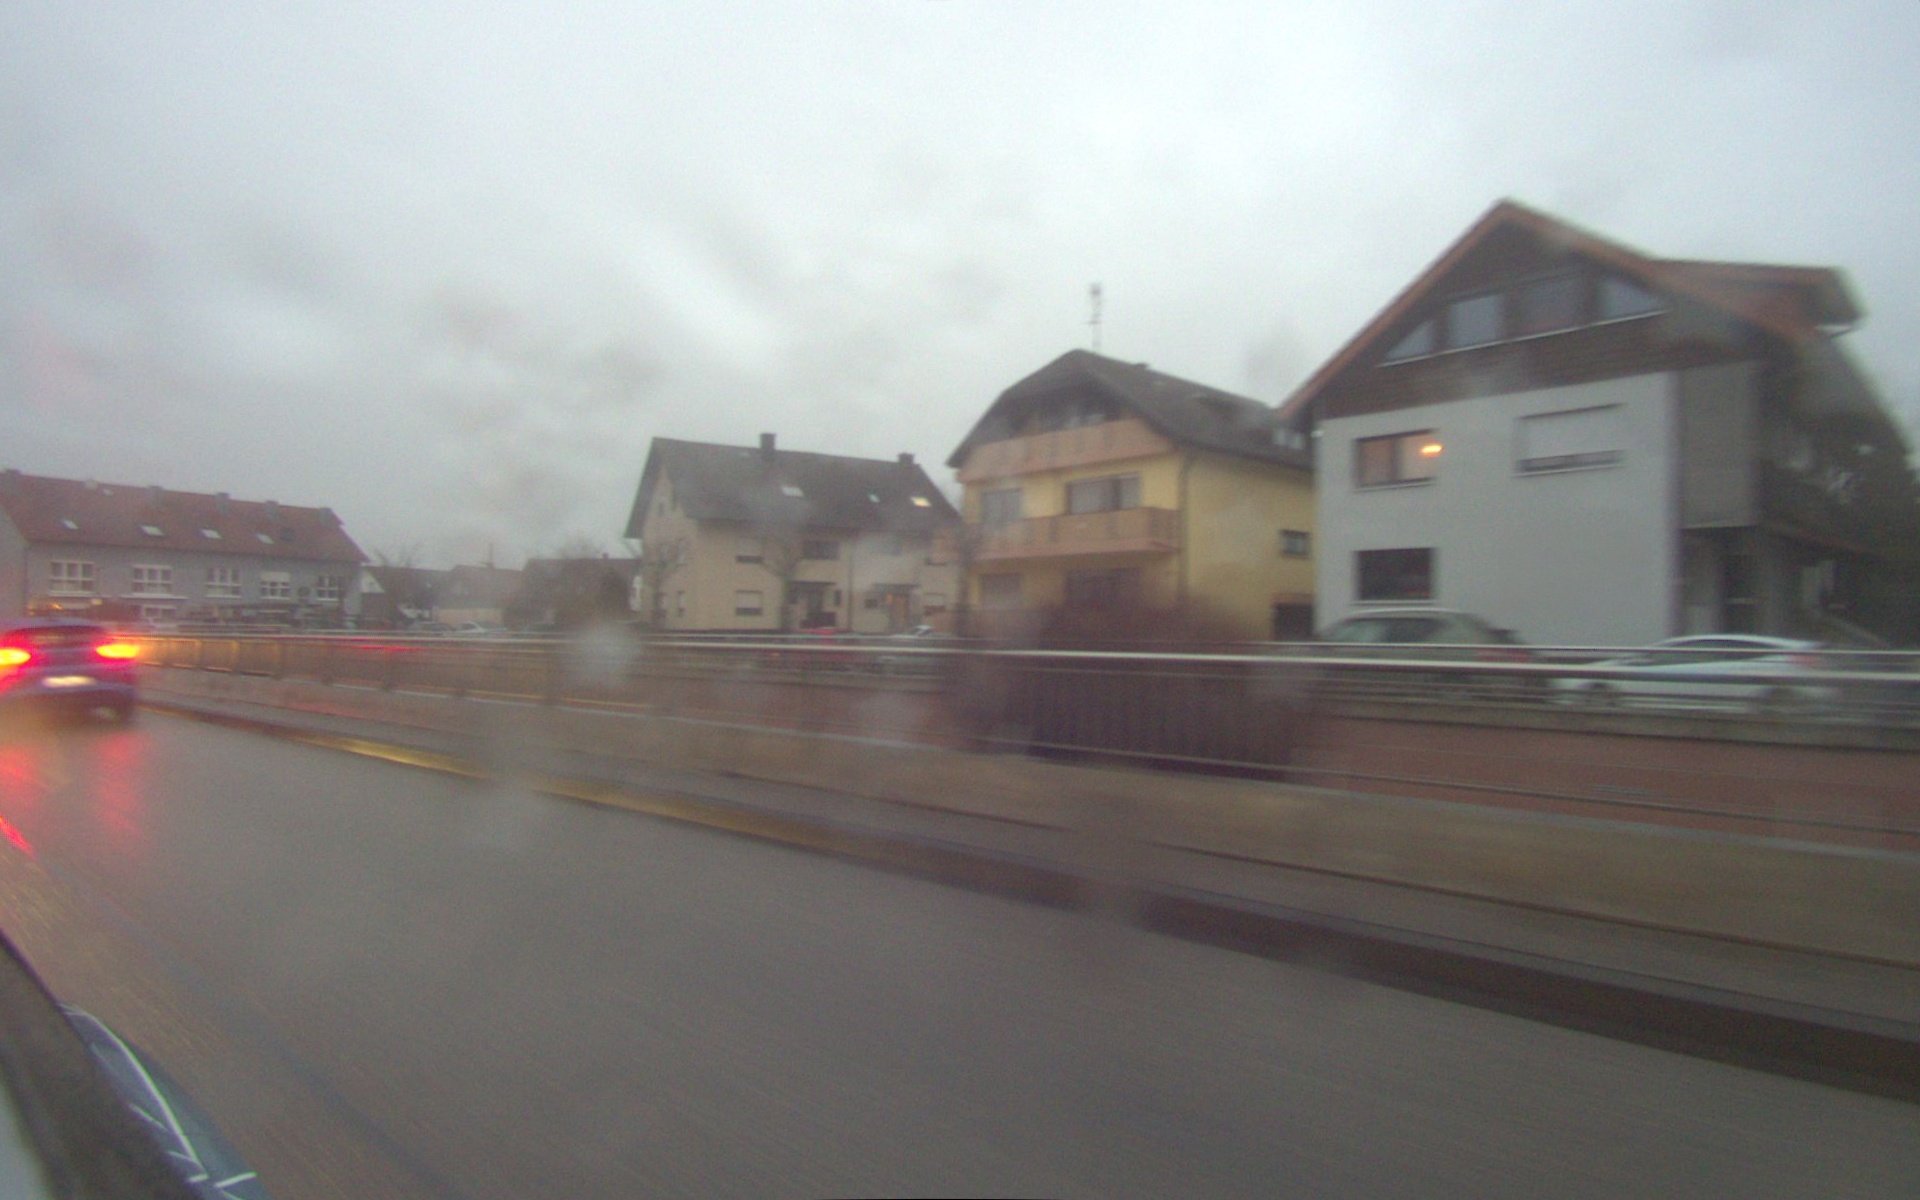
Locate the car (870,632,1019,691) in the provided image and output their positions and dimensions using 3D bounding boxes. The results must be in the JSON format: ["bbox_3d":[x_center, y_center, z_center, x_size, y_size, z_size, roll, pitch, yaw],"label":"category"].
[{"bbox_3d":[-0.502,1.698,28.901,4.144,1.517,1.856,-2,-2,43],"label":"car"}]

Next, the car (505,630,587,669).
[{"bbox_3d":[-18.394,2.155,44.905,4.000,1.529,1.876,0,1,43],"label":"car"}]

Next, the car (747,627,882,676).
[{"bbox_3d":[-4.741,1.606,32.446,4.649,1.453,1.855,-2,-2,44],"label":"car"}]

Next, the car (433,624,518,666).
[{"bbox_3d":[-24.035,2.187,50.141,4.349,1.919,1.976,-2,0,36],"label":"car"}]

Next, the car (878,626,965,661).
[{"bbox_3d":[-1.969,2.172,51.464,3.932,1.556,2.006,-1,0,-31],"label":"car"}]

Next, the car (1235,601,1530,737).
[{"bbox_3d":[6.408,0.975,15.554,3.857,1.817,1.781,-1,-2,40],"label":"car"}]

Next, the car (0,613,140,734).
[{"bbox_3d":[-13.639,1.009,14.933,3.778,1.548,1.714,-2,0,40],"label":"car"}]

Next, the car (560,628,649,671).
[{"bbox_3d":[-14.726,2.021,41.851,3.984,1.636,1.797,-2,0,43],"label":"car"}]

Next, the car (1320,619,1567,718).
[{"bbox_3d":[9.450,1.257,19.948,4.000,1.694,1.838,-2,0,43],"label":"car"}]

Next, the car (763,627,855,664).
[{"bbox_3d":[-7.227,2.139,48.466,3.972,1.535,1.819,-2,0,-30],"label":"car"}]

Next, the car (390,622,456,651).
[{"bbox_3d":[-28.376,1.901,53.426,3.828,1.425,1.660,0,1,38],"label":"car"}]

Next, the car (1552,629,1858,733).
[{"bbox_3d":[12.638,1.289,17.322,4.032,1.535,1.749,-1,-2,43],"label":"car"}]
